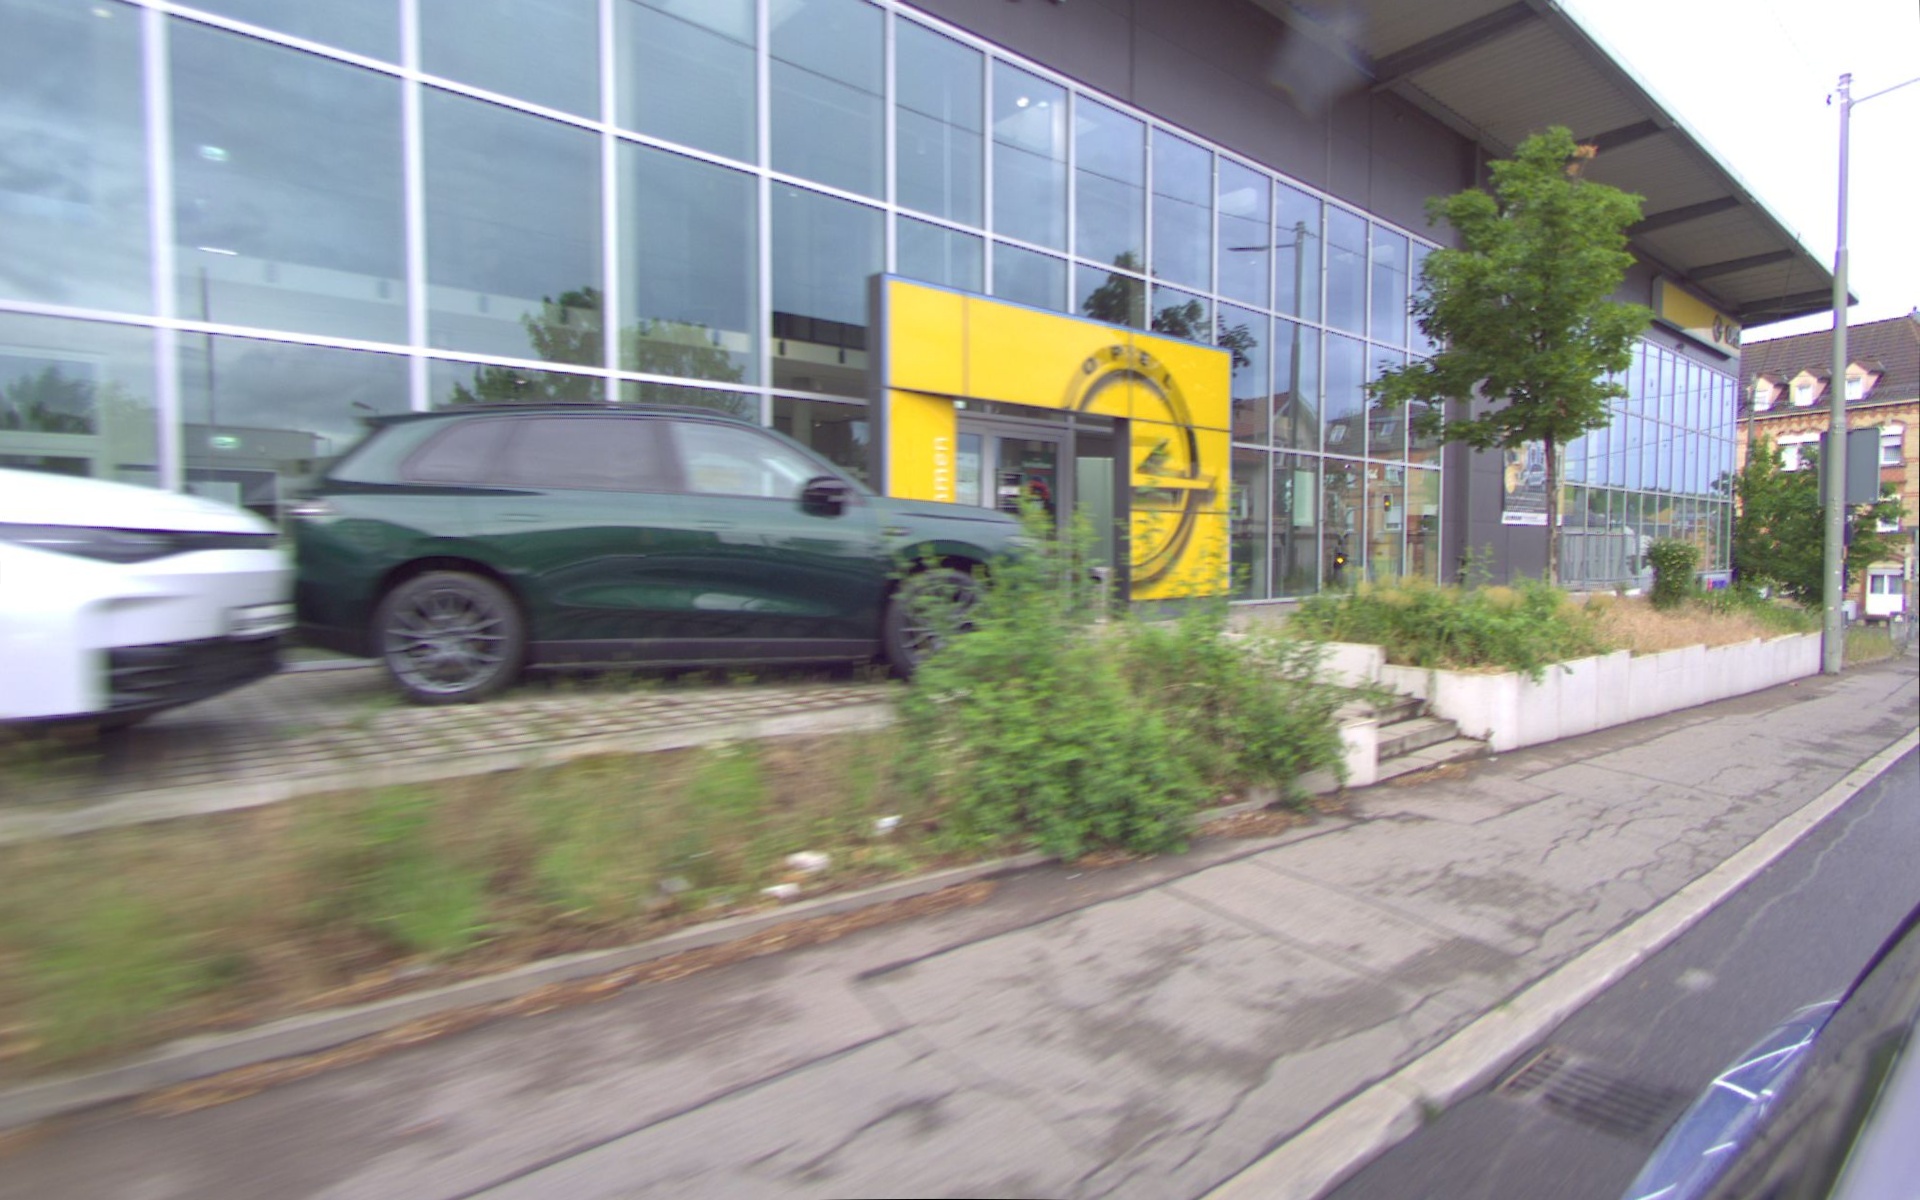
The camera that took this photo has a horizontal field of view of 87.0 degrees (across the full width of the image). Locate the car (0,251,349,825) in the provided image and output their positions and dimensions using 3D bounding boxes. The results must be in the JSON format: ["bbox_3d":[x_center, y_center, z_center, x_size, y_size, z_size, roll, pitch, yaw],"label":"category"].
[{"bbox_3d":[-4.932,-0.235,3.475,4.481,1.731,2.005,0,3,-17],"label":"car"}]

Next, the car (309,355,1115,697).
[{"bbox_3d":[-1.423,-0.427,6.616,4.335,1.731,2.005,0,3,-14],"label":"car"}]
